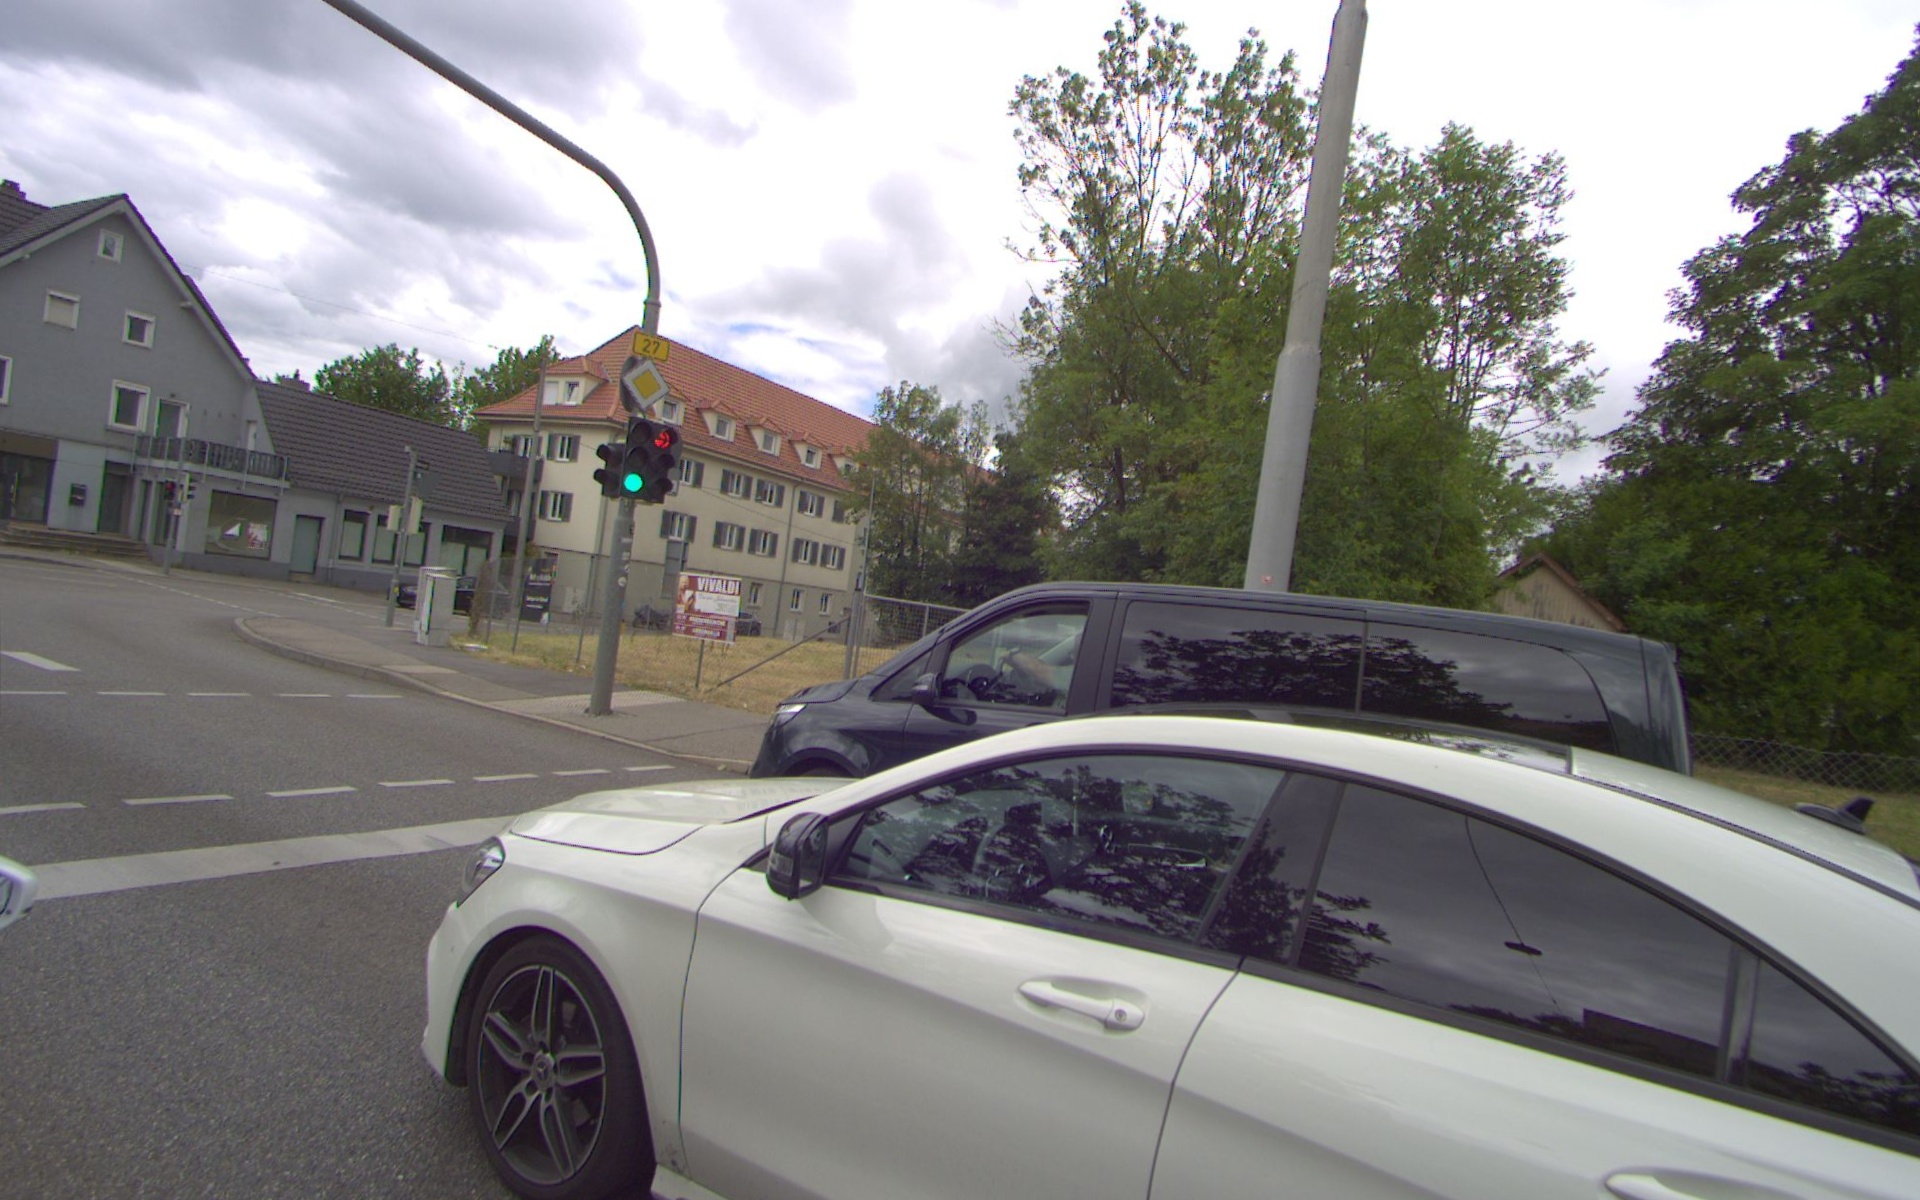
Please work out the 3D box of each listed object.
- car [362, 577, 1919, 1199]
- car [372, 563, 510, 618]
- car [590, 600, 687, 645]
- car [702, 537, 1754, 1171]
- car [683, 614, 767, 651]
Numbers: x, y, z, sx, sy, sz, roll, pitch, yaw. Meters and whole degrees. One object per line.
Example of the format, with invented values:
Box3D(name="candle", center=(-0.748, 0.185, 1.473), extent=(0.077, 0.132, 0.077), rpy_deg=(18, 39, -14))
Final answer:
Box3D(name="car", center=(0.672, 0.915, 2.328), extent=(4.305, 1.451, 1.651), rpy_deg=(6, 0, 32))
Box3D(name="car", center=(-18.796, -0.300, 36.589), extent=(1.838, 1.393, 3.998), rpy_deg=(7, -3, 29))
Box3D(name="car", center=(-15.056, 1.071, 47.337), extent=(1.839, 1.554, 3.996), rpy_deg=(7, -3, 32))
Box3D(name="car", center=(1.088, 0.874, 5.418), extent=(4.631, 1.860, 1.953), rpy_deg=(6, -2, 32))
Box3D(name="car", center=(-12.161, 1.724, 52.327), extent=(1.839, 1.393, 3.996), rpy_deg=(7, -3, 32))
